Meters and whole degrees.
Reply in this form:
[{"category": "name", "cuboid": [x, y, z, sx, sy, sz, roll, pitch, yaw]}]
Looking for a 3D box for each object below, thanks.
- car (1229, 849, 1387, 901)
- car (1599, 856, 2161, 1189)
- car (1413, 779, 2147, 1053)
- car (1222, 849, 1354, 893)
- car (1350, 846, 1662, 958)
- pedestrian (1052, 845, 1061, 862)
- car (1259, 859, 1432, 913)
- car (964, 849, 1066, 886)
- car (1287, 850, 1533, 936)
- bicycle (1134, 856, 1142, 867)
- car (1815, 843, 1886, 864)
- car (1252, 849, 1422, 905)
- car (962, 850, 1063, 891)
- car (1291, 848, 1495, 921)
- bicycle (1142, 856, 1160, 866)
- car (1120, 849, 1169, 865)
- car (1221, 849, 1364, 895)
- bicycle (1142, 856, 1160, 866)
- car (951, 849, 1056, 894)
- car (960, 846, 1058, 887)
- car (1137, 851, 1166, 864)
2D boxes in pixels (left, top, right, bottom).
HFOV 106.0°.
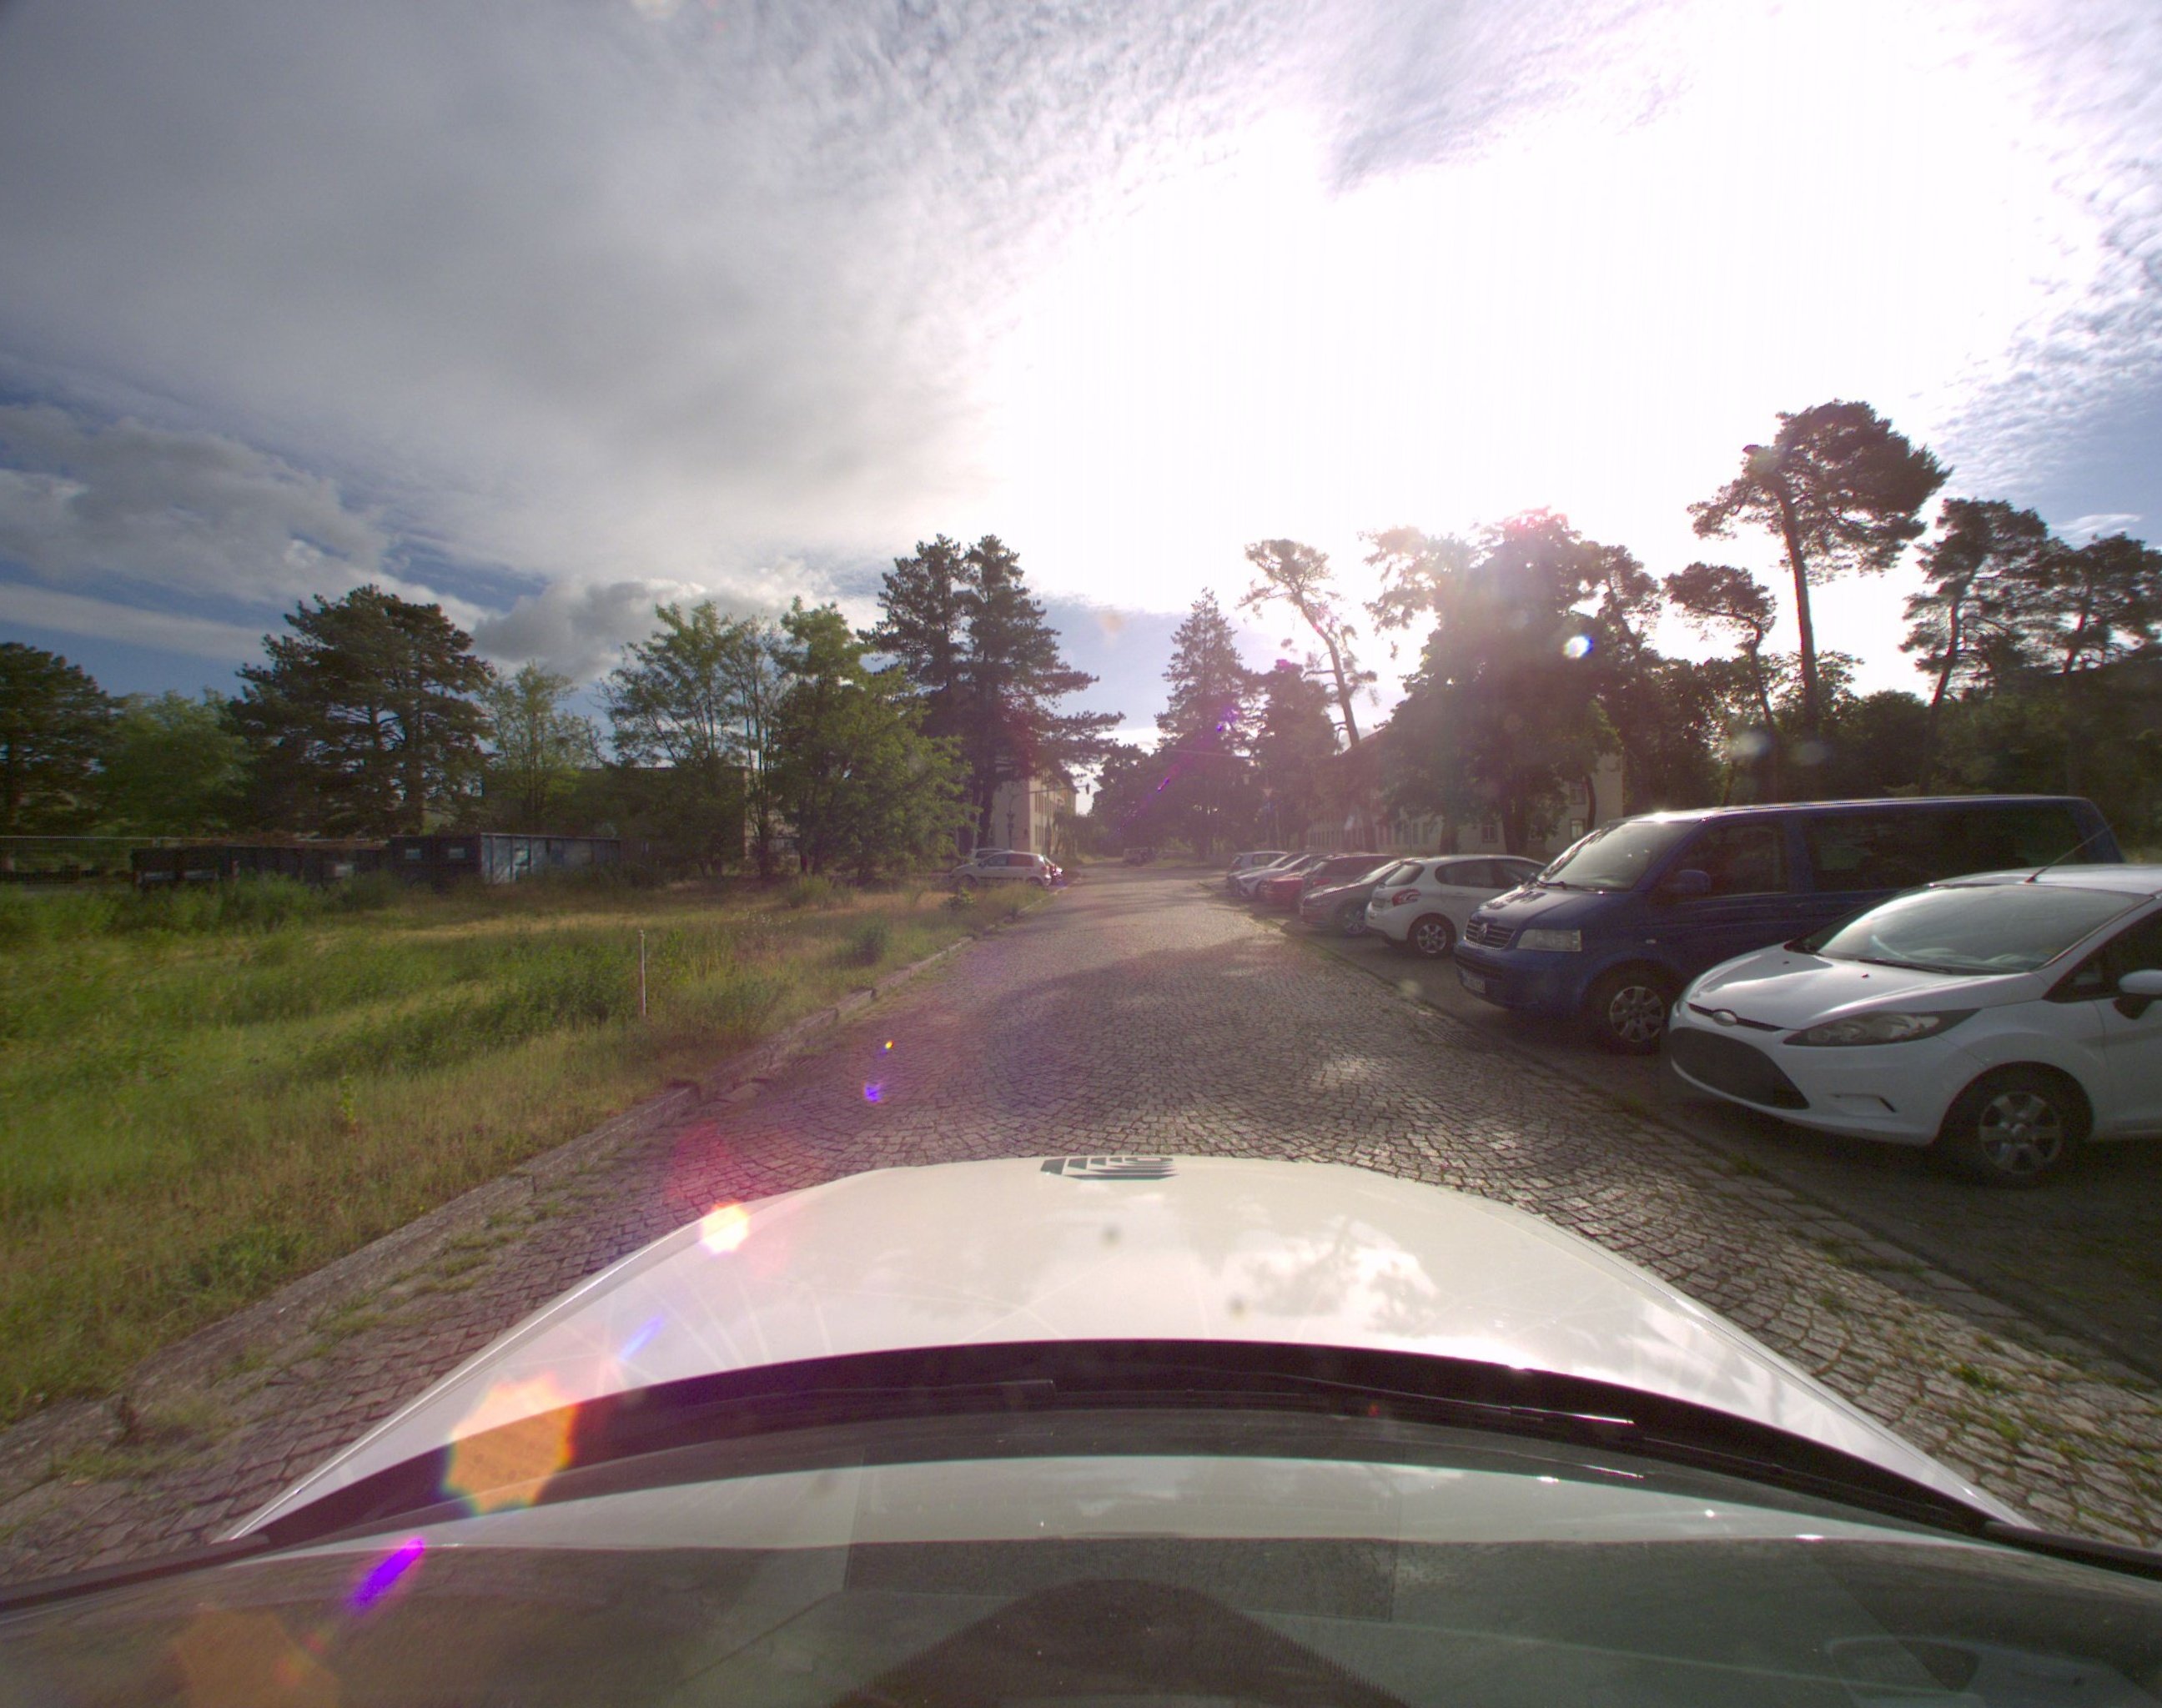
[{"category": "car", "cuboid": [7.030, 0.647, 25.624, 4.488, 1.473, 1.851, -1, -1, 2]}, {"category": "car", "cuboid": [5.656, 0.778, 4.714, 4.178, 1.470, 1.807, -1, -1, -1]}, {"category": "car", "cuboid": [5.746, 0.497, 7.263, 4.714, 1.928, 1.993, -2, -1, 2]}, {"category": "car", "cuboid": [7.802, 0.635, 31.002, 4.527, 1.505, 1.933, -1, -1, 1]}, {"category": "car", "cuboid": [6.363, 0.701, 12.562, 3.858, 1.530, 1.809, -1, -1, 3]}, {"category": "pedestrian", "cuboid": [-2.871, -0.001, 95.055, 0.981, 1.963, 0.933, 0, -1, 2]}, {"category": "car", "cuboid": [6.709, 0.793, 20.980, 3.934, 1.261, 1.728, -1, -1, 3]}, {"category": "car", "cuboid": [-3.079, 0.627, 38.522, 4.571, 1.455, 1.904, 2, 1, 0]}, {"category": "car", "cuboid": [6.086, 0.714, 15.437, 3.934, 1.467, 1.832, -1, -1, 3]}, {"category": "bicycle", "cuboid": [5.491, 0.741, 78.692, 0.725, 0.999, 1.800, -1, 1, 3]}, {"category": "car", "cuboid": [61.862, -0.053, 65.532, 3.918, 1.679, 1.857, 0, -1, 1]}, {"category": "car", "cuboid": [7.235, 0.644, 23.340, 4.323, 1.473, 1.741, -1, -1, 2]}, {"category": "car", "cuboid": [-2.744, 0.660, 33.260, 3.814, 1.429, 1.860, 2, 0, 2]}, {"category": "car", "cuboid": [6.893, 0.661, 18.329, 3.934, 1.495, 1.773, -1, -1, 3]}, {"category": "bicycle", "cuboid": [7.062, 0.726, 82.217, 1.786, 0.999, 0.644, -1, 1, 2]}, {"category": "car", "cuboid": [7.666, 0.343, 98.157, 5.503, 1.916, 2.246, 0, -1, -11]}, {"category": "car", "cuboid": [7.300, 0.616, 28.396, 4.493, 1.473, 1.894, -1, -1, -1]}, {"category": "bicycle", "cuboid": [7.119, 0.736, 83.236, 1.786, 0.999, 0.644, -1, 1, 2]}, {"category": "car", "cuboid": [-2.860, 0.640, 30.605, 3.669, 1.473, 1.850, 2, 0, 1]}, {"category": "car", "cuboid": [-3.134, 0.538, 35.978, 4.110, 1.600, 1.858, 2, -1, -2]}, {"category": "car", "cuboid": [8.128, 0.439, 94.562, 3.032, 1.465, 1.714, 0, -1, -10]}]
